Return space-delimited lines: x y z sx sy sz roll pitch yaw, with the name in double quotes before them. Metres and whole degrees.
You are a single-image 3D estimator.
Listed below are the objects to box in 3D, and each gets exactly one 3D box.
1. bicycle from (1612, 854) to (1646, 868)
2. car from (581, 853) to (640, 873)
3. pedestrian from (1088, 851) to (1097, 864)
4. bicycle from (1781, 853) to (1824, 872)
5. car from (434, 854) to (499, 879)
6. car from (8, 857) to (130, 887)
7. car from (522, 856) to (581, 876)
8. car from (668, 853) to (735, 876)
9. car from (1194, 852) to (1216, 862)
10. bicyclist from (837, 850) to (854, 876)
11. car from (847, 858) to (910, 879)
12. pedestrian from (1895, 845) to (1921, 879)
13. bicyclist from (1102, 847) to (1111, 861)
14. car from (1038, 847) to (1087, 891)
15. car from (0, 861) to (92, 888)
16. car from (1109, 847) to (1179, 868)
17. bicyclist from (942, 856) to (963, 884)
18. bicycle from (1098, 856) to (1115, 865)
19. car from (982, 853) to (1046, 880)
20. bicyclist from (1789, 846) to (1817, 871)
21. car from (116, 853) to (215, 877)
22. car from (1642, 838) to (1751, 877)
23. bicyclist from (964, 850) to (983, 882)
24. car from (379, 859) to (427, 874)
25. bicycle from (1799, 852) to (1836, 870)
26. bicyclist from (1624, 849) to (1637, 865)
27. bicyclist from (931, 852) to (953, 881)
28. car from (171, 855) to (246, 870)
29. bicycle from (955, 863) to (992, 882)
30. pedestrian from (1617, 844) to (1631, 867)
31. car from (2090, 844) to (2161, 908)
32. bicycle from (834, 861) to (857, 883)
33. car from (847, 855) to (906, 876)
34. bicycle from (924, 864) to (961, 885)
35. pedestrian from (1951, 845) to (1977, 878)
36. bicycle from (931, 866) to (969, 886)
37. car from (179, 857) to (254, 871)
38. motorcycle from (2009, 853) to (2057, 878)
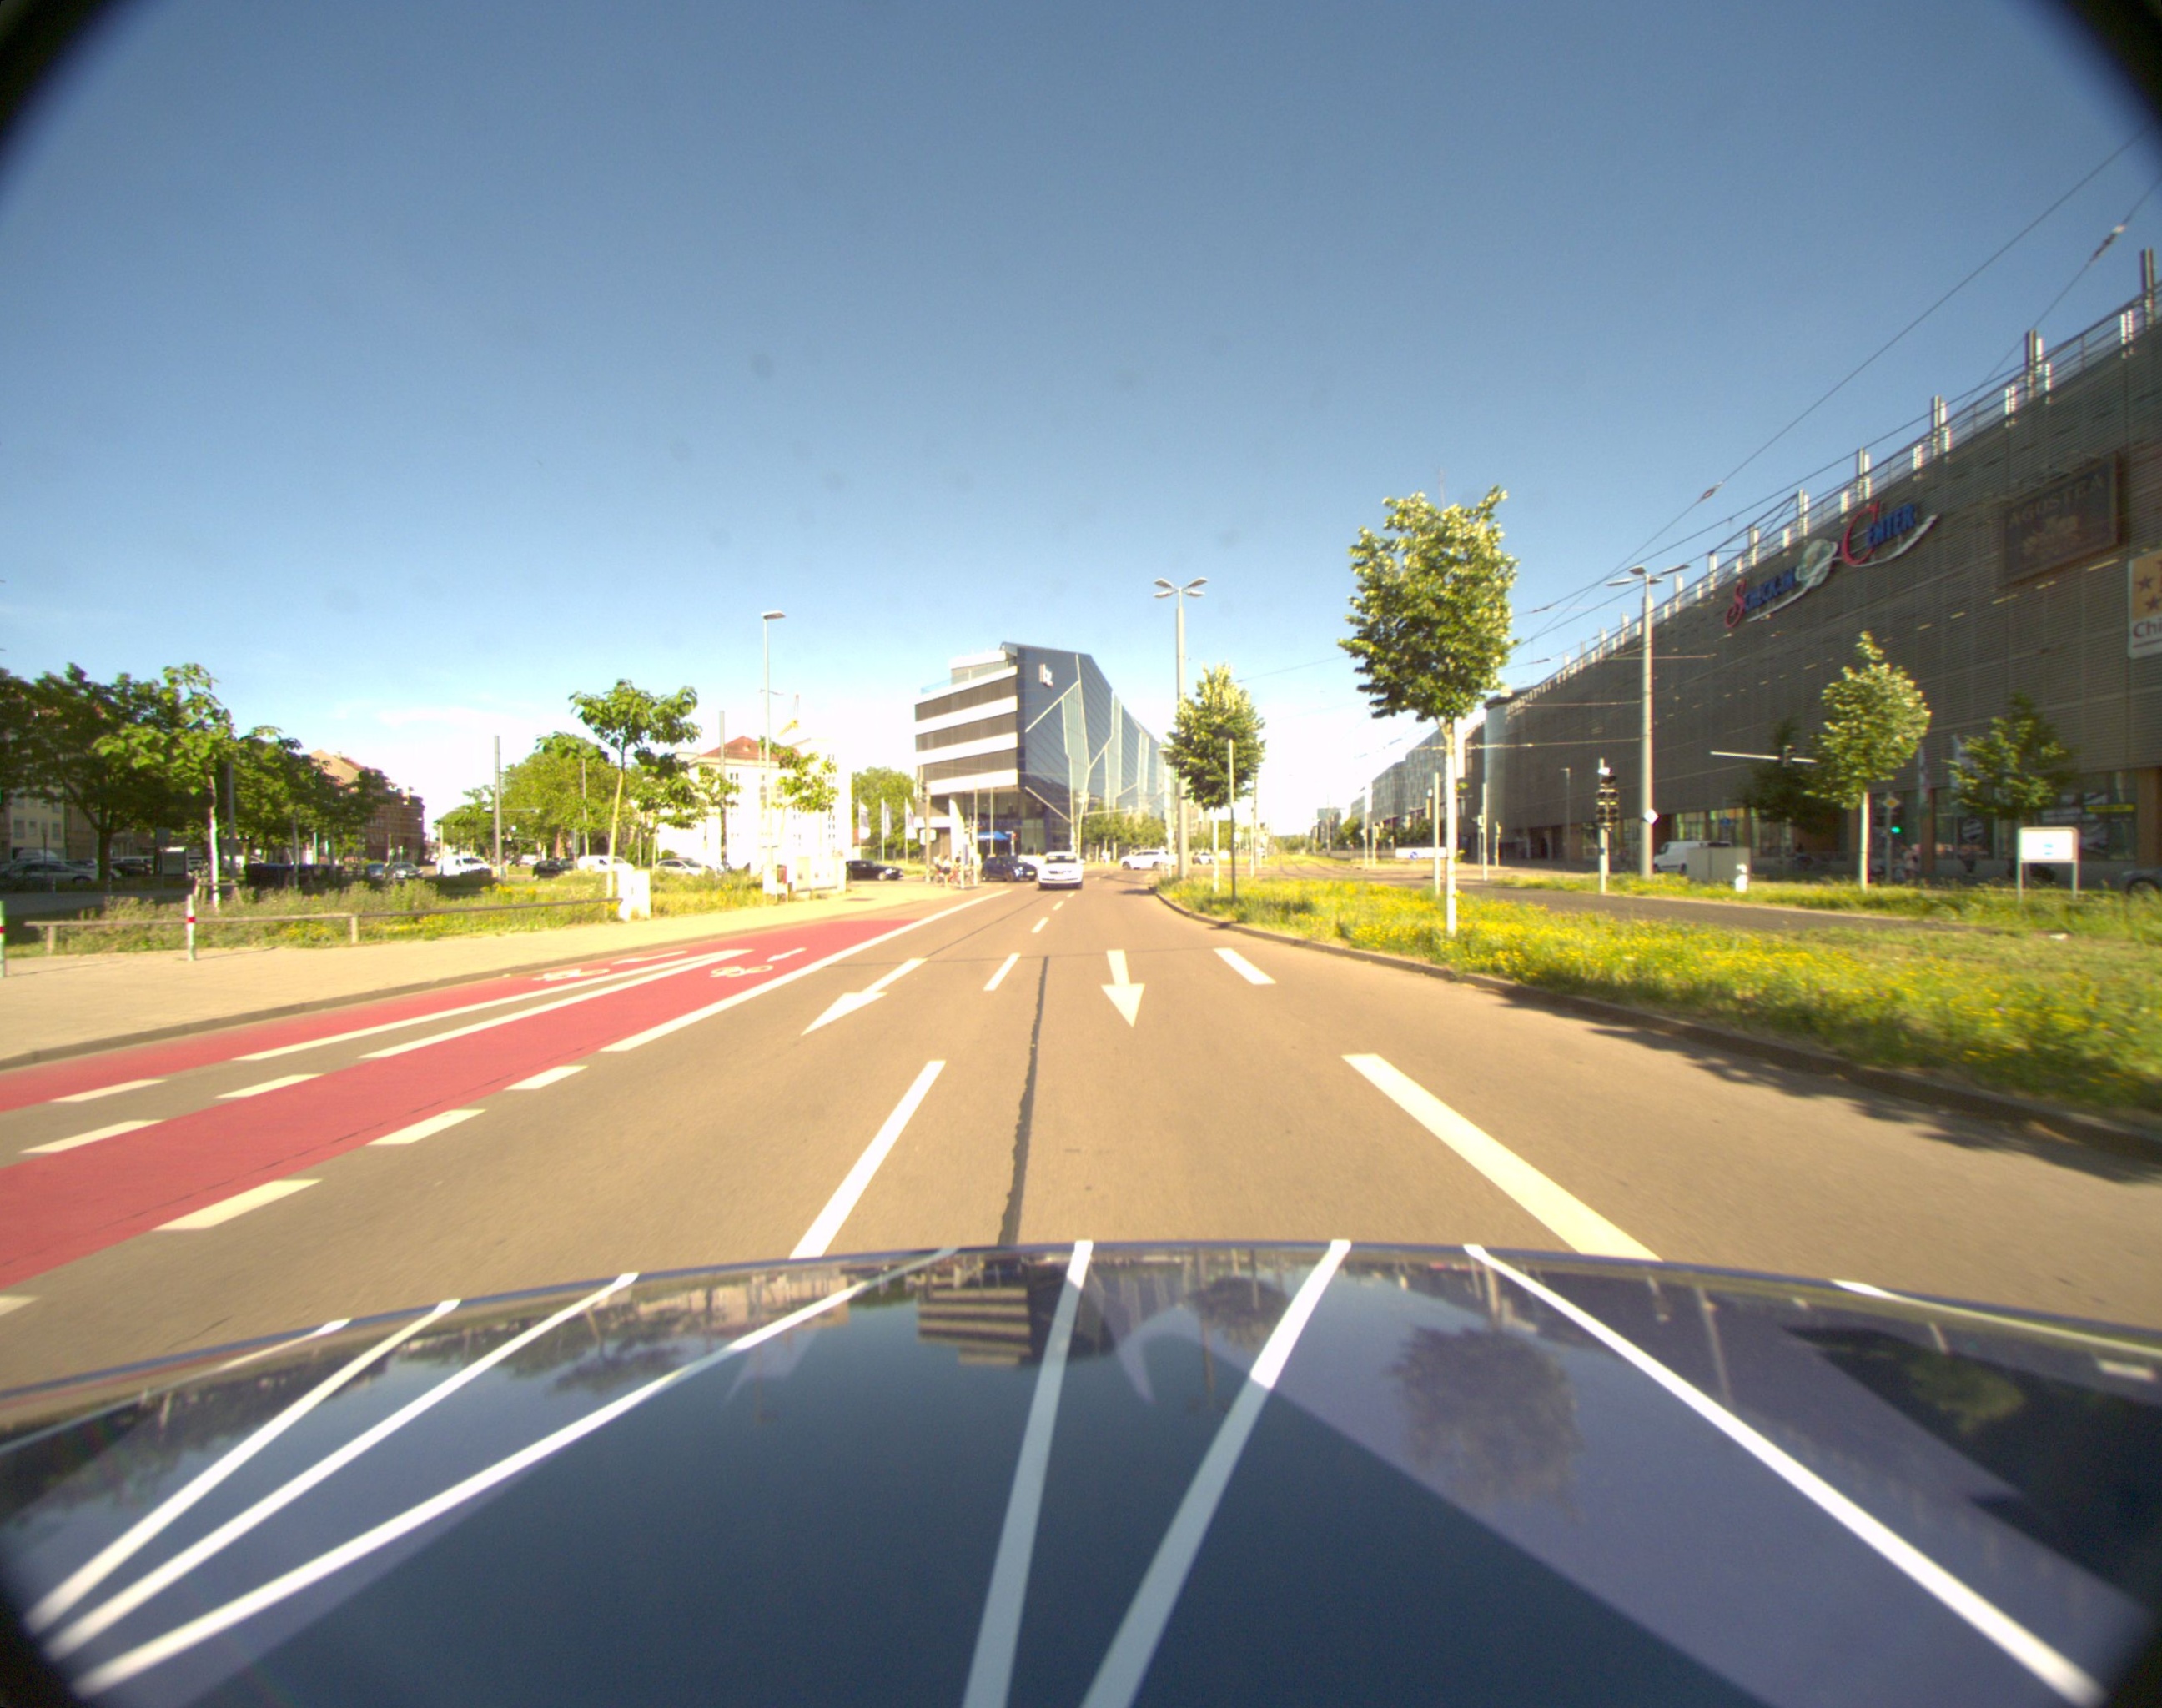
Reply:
"bicycle" 40.218 0.491 55.789 0.560 0.980 2.018 -1 1 -20
"car" -38.121 0.710 61.566 3.991 1.547 1.877 0 1 18
"pedestrian" 1.333 0.449 89.430 0.855 1.547 0.614 0 1 19
"bicycle" 41.507 0.482 43.744 0.597 1.004 2.571 0 1 14
"car" -50.231 0.998 62.088 4.644 1.970 1.877 0 1 18
"car" -61.939 1.061 46.605 1.996 1.652 4.004 0 1 15
"car" -41.010 0.917 58.816 3.990 1.547 1.878 0 1 23
"car" -27.206 0.739 54.554 3.992 1.547 1.877 0 1 14
"car" 13.424 0.318 82.376 1.996 1.084 4.004 0 1 14
"bicyclist" -12.581 0.464 40.610 0.698 1.369 0.736 2 0 -31
"car" -13.814 0.979 51.817 3.830 1.425 1.588 0 1 15
"pedestrian" 35.987 0.341 33.073 0.489 1.478 0.742 0 1 23
"bicyclist" 2.644 -0.011 78.645 0.760 1.402 0.773 0 1 25
"car" -0.745 0.614 33.506 1.873 1.621 4.336 -1 3 2
"car" -60.590 1.170 43.712 1.996 1.455 4.004 0 1 15
"car" 5.168 0.304 62.426 5.531 1.642 1.817 0 1 33
"bicyclist" -6.367 0.780 37.686 0.826 1.395 0.590 1 0 12
"bicycle" 2.648 0.695 78.660 0.768 0.835 2.572 0 1 25
"car" -4.061 0.711 45.697 1.878 1.547 3.989 -1 1 -40
"bicyclist" 41.513 0.263 43.692 0.592 1.399 1.314 0 1 14
"car" -73.844 0.862 61.423 1.729 1.761 4.799 0 1 15
"car" 33.952 0.178 42.143 2.225 2.002 5.258 -1 1 7
"bicyclist" -5.985 0.654 42.173 0.905 1.788 0.550 1 0 7
"car" -60.250 1.107 67.510 4.642 1.263 1.878 0 1 30
"bicycle" 44.067 0.385 45.486 0.572 1.032 1.952 0 1 9
"bicyclist" 40.254 0.206 55.634 0.560 1.133 0.562 -1 1 -20
"bicyclist" -8.010 0.707 43.792 1.001 1.645 0.596 2 1 27
"car" -85.936 0.807 74.925 1.995 1.453 4.408 0 1 25
"bicycle" -5.959 1.037 42.167 1.893 1.032 0.607 1 0 7
"pedestrian" 41.121 0.101 57.522 0.589 1.741 0.625 -1 1 -6
"car" 29.141 0.581 18.961 1.998 1.672 4.539 0 1 3
"bicycle" -12.563 0.940 40.544 0.698 1.098 2.006 2 -1 -31
"car" -15.123 0.839 56.166 3.829 1.423 1.670 0 4 12
"bicycle" -7.969 1.159 43.763 2.006 1.098 0.698 2 -1 27
"pedestrian" 40.707 0.320 35.023 0.490 1.510 0.650 0 1 17
"bicycle" -6.499 1.070 37.649 1.704 0.948 0.697 1 0 12
"car" -83.653 0.916 73.605 1.995 1.227 4.408 0 1 25
"motorcycle" 41.226 0.476 32.921 0.401 1.032 1.621 0 1 14
